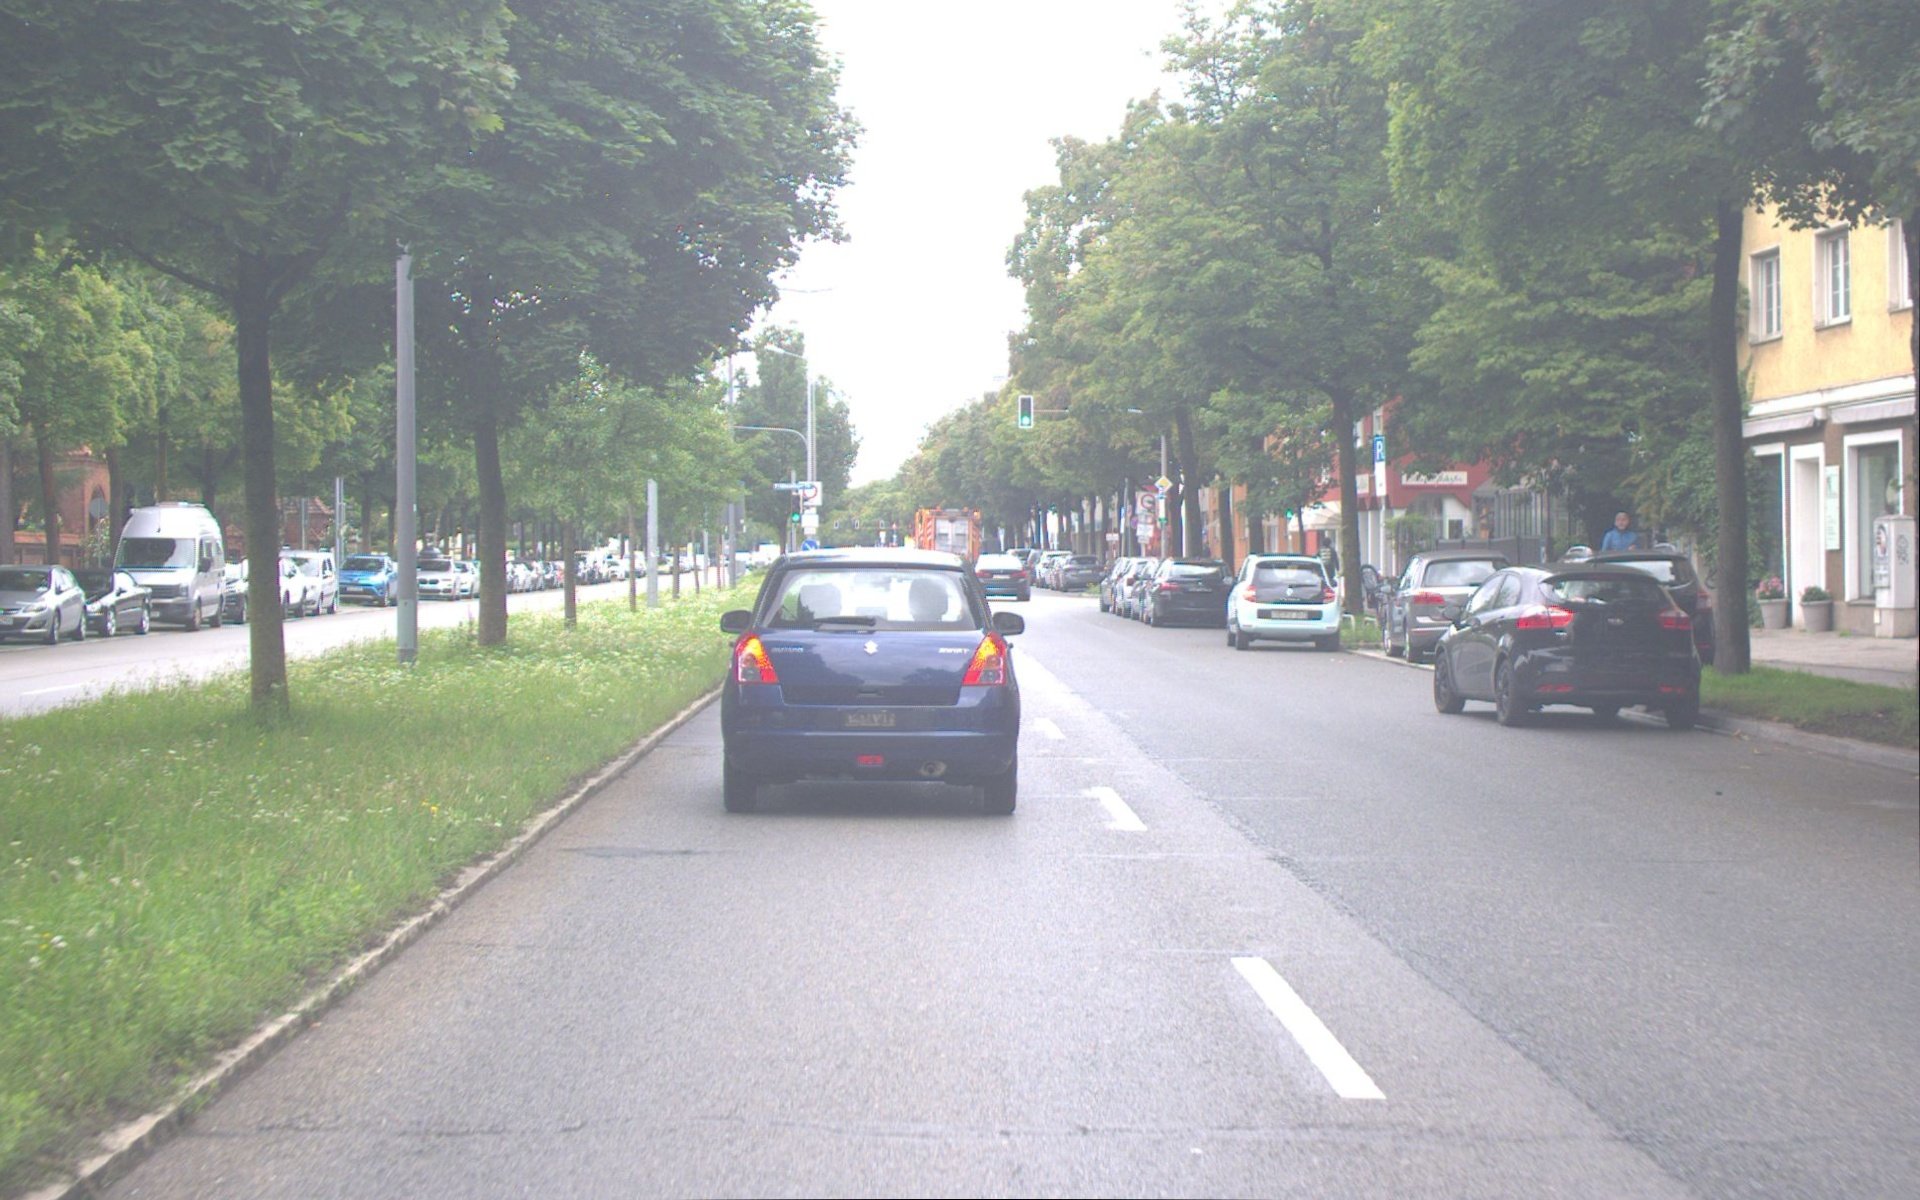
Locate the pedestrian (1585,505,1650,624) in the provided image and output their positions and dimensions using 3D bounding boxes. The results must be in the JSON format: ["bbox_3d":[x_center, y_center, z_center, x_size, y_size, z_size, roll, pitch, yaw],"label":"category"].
[{"bbox_3d":[10.465,-0.564,54.718,0.792,1.849,0.777,-2,1,-4],"label":"pedestrian"}]

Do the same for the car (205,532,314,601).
[{"bbox_3d":[-18.429,-0.901,90.603,2.185,1.730,4.579,1,1,-4],"label":"car"}]

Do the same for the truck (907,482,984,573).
[{"bbox_3d":[-0.606,-2.994,142.713,3.041,3.545,13.675,0,1,0],"label":"truck"}]

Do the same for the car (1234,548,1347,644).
[{"bbox_3d":[5.414,-0.086,56.011,1.654,1.447,3.999,-1,1,8],"label":"car"}]

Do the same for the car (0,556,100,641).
[{"bbox_3d":[-17.817,-0.051,65.655,1.813,1.531,4.442,1,1,-2],"label":"car"}]

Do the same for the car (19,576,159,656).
[{"bbox_3d":[-18.024,0.310,71.344,1.813,1.531,4.820,1,1,-2],"label":"car"}]

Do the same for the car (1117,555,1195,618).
[{"bbox_3d":[4.706,-0.335,82.935,1.695,1.447,4.123,0,1,1],"label":"car"}]

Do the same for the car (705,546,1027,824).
[{"bbox_3d":[-0.524,0.431,20.713,1.753,1.499,4.000,0,1,0],"label":"car"}]

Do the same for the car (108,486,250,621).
[{"bbox_3d":[-17.738,-1.070,78.356,2.185,2.943,6.193,1,1,-4],"label":"car"}]

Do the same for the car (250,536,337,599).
[{"bbox_3d":[-18.593,-0.932,96.060,1.706,1.728,4.000,0,1,-1],"label":"car"}]

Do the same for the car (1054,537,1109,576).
[{"bbox_3d":[4.880,-1.770,138.666,1.993,1.525,4.000,0,1,-1],"label":"car"}]

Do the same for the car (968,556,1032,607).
[{"bbox_3d":[1.231,-0.608,107.658,1.821,1.472,4.691,2,1,-1],"label":"car"}]

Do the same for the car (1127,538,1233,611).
[{"bbox_3d":[4.614,-0.562,72.603,1.653,1.447,4.709,-1,1,-3],"label":"car"}]

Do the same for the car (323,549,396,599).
[{"bbox_3d":[-19.190,-0.844,109.951,1.706,1.529,4.000,0,1,-1],"label":"car"}]

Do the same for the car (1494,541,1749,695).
[{"bbox_3d":[7.421,0.154,38.977,1.993,1.637,4.333,0,1,-1],"label":"car"}]

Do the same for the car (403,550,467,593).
[{"bbox_3d":[-19.290,-1.046,126.486,1.801,1.529,4.000,0,1,-1],"label":"car"}]

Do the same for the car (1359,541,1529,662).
[{"bbox_3d":[6.972,-0.012,49.857,1.815,1.620,4.308,-2,1,0],"label":"car"}]

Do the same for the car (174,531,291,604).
[{"bbox_3d":[-18.010,-0.821,85.285,2.185,1.730,4.579,1,1,-4],"label":"car"}]

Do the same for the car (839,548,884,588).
[{"bbox_3d":[-3.811,-1.273,133.850,1.718,1.495,4.301,0,1,-1],"label":"car"}]

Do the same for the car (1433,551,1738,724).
[{"bbox_3d":[5.601,0.292,31.288,1.993,1.447,4.000,0,1,-1],"label":"car"}]

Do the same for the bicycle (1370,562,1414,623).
[{"bbox_3d":[7.075,-0.127,56.395,0.448,0.977,1.799,0,1,-1],"label":"bicycle"}]
